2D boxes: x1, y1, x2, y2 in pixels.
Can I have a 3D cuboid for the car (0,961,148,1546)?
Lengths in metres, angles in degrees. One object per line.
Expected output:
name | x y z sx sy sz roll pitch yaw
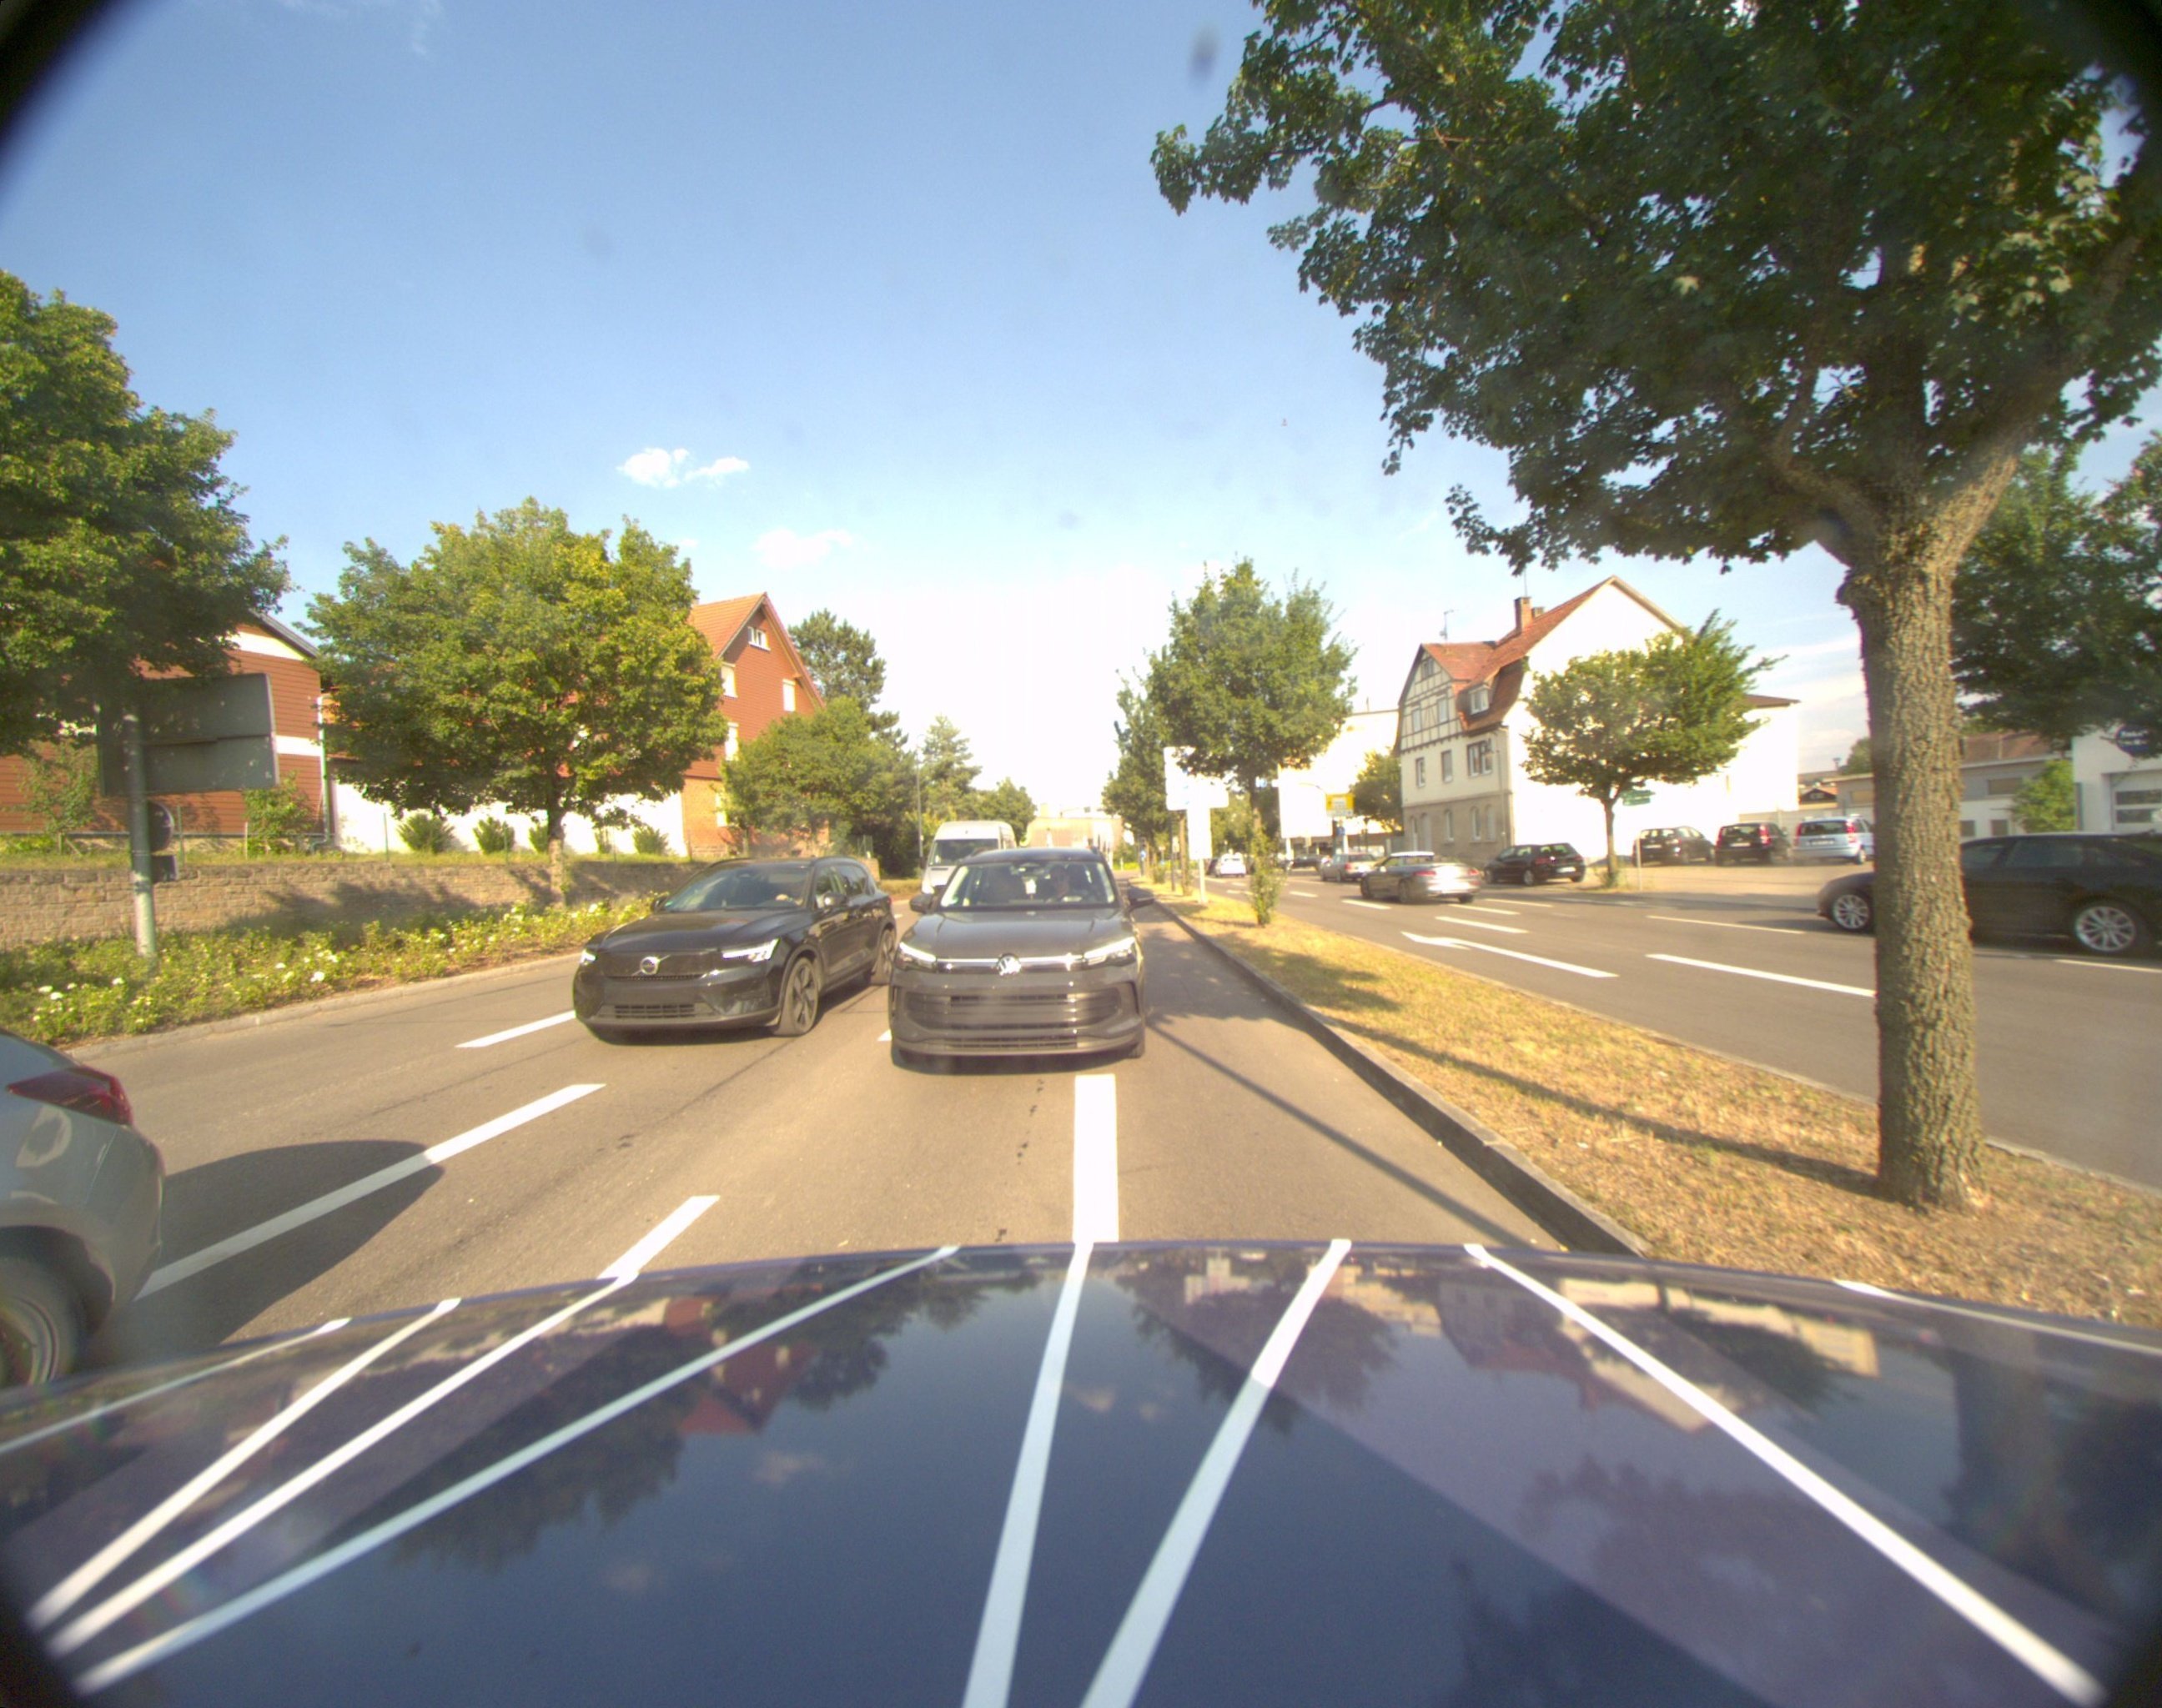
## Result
car | -3.628 1.068 0.121 1.748 1.433 4.166 -2 0 0

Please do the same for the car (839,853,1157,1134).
car | -0.450 0.857 7.020 1.894 1.647 4.730 -2 0 1

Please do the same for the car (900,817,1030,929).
car | -2.912 0.435 20.860 2.370 2.532 6.192 -2 0 2

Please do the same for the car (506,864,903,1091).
car | -3.350 0.968 7.838 1.886 1.599 4.128 -2 0 2

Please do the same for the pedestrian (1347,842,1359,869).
pedestrian | 20.743 0.117 57.954 0.698 1.971 0.589 -2 1 24

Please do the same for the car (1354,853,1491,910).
car | 9.250 0.677 21.012 1.784 1.341 4.478 -2 0 1

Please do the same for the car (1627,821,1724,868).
car | 23.376 -0.394 29.850 4.006 1.543 1.764 -4 1 -33

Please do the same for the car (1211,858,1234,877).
car | 11.815 1.083 63.443 1.772 1.442 4.111 -2 0 10

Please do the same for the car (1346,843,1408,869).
car | 24.904 0.162 63.905 4.950 1.912 1.825 -2 1 -25

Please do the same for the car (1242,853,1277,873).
car | 14.278 0.673 60.935 1.811 1.488 4.245 -2 0 1

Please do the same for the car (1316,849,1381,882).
car | 13.079 0.532 37.395 1.690 1.454 4.712 -2 0 3

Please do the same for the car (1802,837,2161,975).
car | 12.412 0.537 9.801 1.848 1.413 4.644 -2 0 1

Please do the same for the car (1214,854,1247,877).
car | 10.440 0.762 53.318 1.805 1.488 3.956 -2 0 5

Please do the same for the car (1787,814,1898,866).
car | 24.967 -0.475 24.890 4.006 1.543 1.763 -2 1 -33

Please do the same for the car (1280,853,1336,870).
car | 20.616 0.691 69.207 4.660 1.346 1.768 -2 0 9

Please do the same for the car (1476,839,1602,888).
car | 15.970 0.298 26.771 1.839 1.435 4.195 -5 0 1

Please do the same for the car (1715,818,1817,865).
car | 24.850 -0.473 27.537 4.006 1.543 1.763 -2 1 -33

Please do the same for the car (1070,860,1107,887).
car | 0.465 1.053 42.945 1.765 1.346 4.132 -2 0 4
